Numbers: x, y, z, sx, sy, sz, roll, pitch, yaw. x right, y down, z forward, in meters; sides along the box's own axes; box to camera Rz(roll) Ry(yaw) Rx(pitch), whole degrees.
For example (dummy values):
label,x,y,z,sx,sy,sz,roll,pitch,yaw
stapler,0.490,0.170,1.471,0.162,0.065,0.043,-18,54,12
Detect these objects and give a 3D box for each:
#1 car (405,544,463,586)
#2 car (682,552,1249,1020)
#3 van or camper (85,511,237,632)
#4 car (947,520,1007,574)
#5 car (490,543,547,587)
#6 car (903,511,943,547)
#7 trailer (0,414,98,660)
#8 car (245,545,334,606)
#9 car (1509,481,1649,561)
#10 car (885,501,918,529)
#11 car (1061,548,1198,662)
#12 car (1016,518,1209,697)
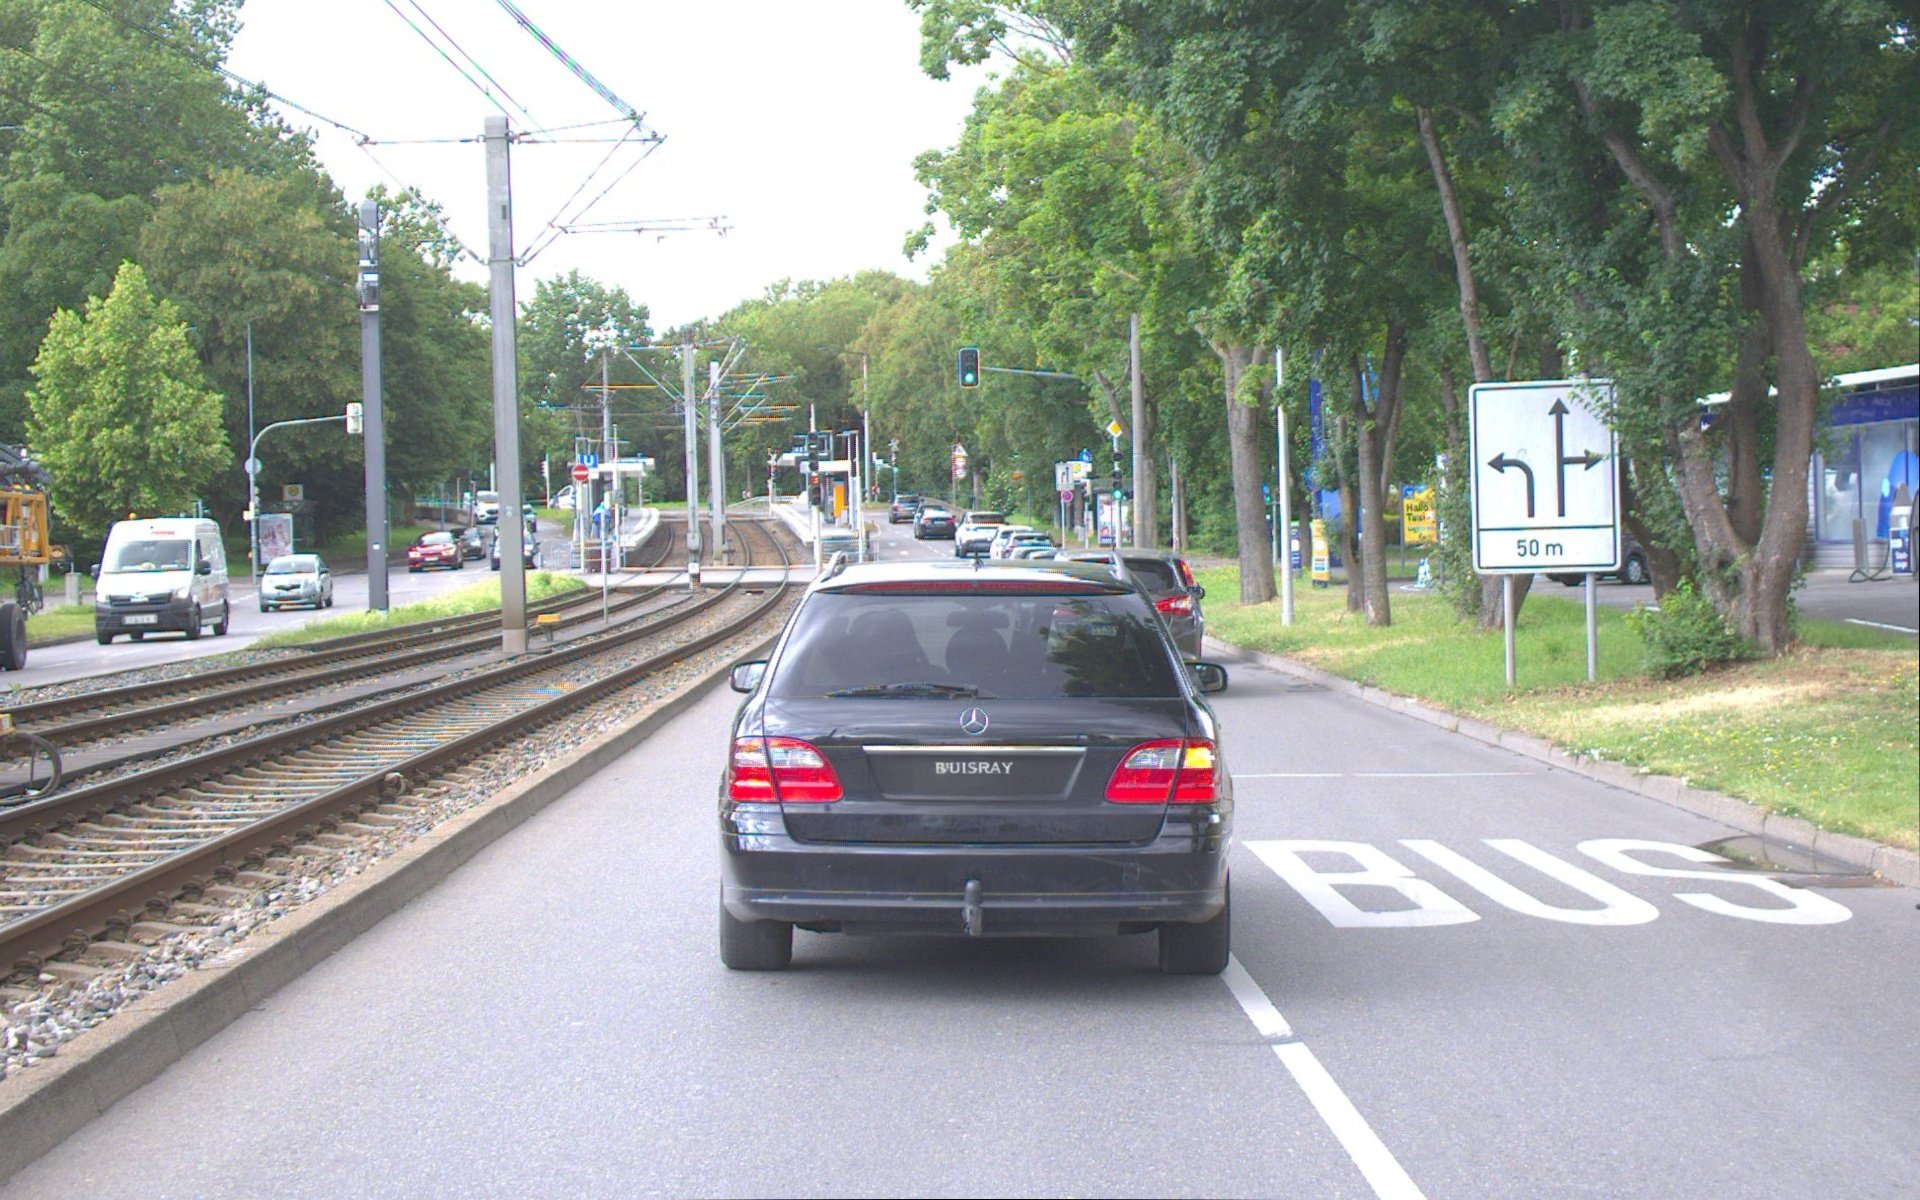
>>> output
label,x,y,z,sx,sy,sz,roll,pitch,yaw
car,-20.826,-1.386,136.208,1.765,1.641,3.771,0,1,-1
car,-0.006,0.568,12.915,1.808,1.469,3.881,0,1,-1
van or camper,-16.515,-0.615,71.379,1.993,2.346,5.766,-2,1,-3
car,0.581,-1.828,118.977,1.993,1.831,4.000,0,1,-1
car,-17.069,-1.364,132.957,1.765,1.641,3.771,0,1,-1
car,-1.905,-3.648,176.578,1.993,1.831,4.000,0,1,-1
trailer,-15.650,-0.915,51.800,2.704,3.648,13.301,-2,1,-4
car,-18.531,-0.702,95.133,1.765,1.641,3.771,0,1,-1
car,13.779,-1.777,76.294,2.008,1.677,4.574,-1,1,24
car,-3.299,-4.795,193.269,1.666,1.527,3.771,0,1,-4
car,2.185,0.043,44.949,1.571,1.410,3.354,1,1,-1
car,1.536,0.057,35.795,1.780,1.744,3.718,1,1,-1
